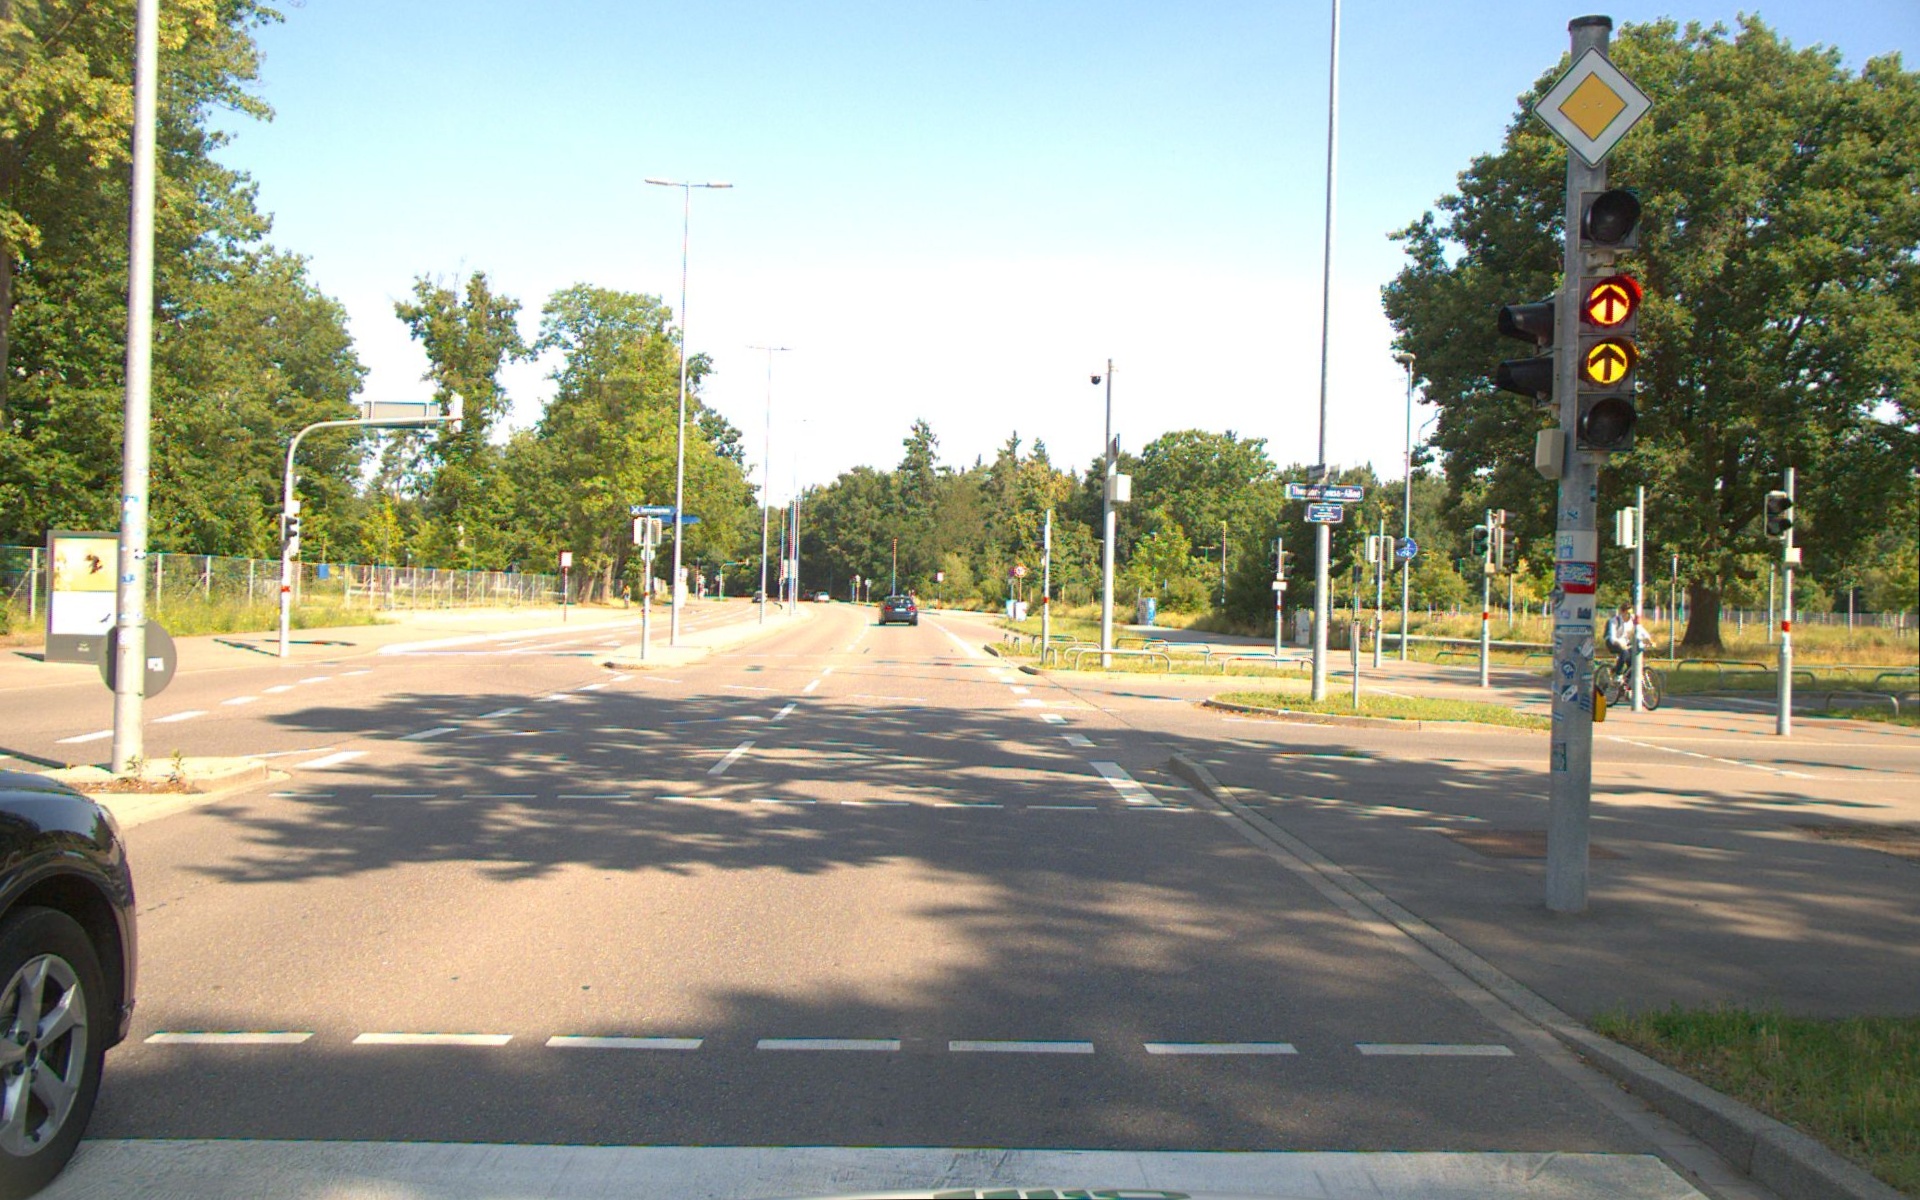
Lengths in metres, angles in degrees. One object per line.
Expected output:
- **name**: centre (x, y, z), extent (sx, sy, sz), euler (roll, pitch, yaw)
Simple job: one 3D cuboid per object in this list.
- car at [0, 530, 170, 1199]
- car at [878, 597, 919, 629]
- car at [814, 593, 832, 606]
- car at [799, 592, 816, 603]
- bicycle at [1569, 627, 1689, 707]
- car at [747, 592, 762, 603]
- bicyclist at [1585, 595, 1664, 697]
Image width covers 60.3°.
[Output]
- **car**: centre (-2.951, 0.632, 2.409), extent (1.653, 1.571, 4.148), euler (0, 0, -1)
- **car**: centre (-3.047, 0.617, 81.390), extent (1.902, 1.445, 4.290), euler (1, 0, -3)
- **car**: centre (-19.258, -0.098, 232.714), extent (1.959, 1.780, 3.986), euler (1, 0, -13)
- **car**: centre (-23.345, -0.375, 252.796), extent (1.959, 1.624, 3.987), euler (1, 0, -13)
- **bicycle**: centre (11.176, 1.102, 27.707), extent (0.712, 1.220, 2.091), euler (1, 0, -16)
- **car**: centre (-27.363, -0.340, 220.173), extent (1.778, 1.412, 4.150), euler (-1, 0, -11)
- **bicyclist**: centre (11.163, 0.765, 27.809), extent (0.712, 1.667, 1.053), euler (1, 0, -17)
